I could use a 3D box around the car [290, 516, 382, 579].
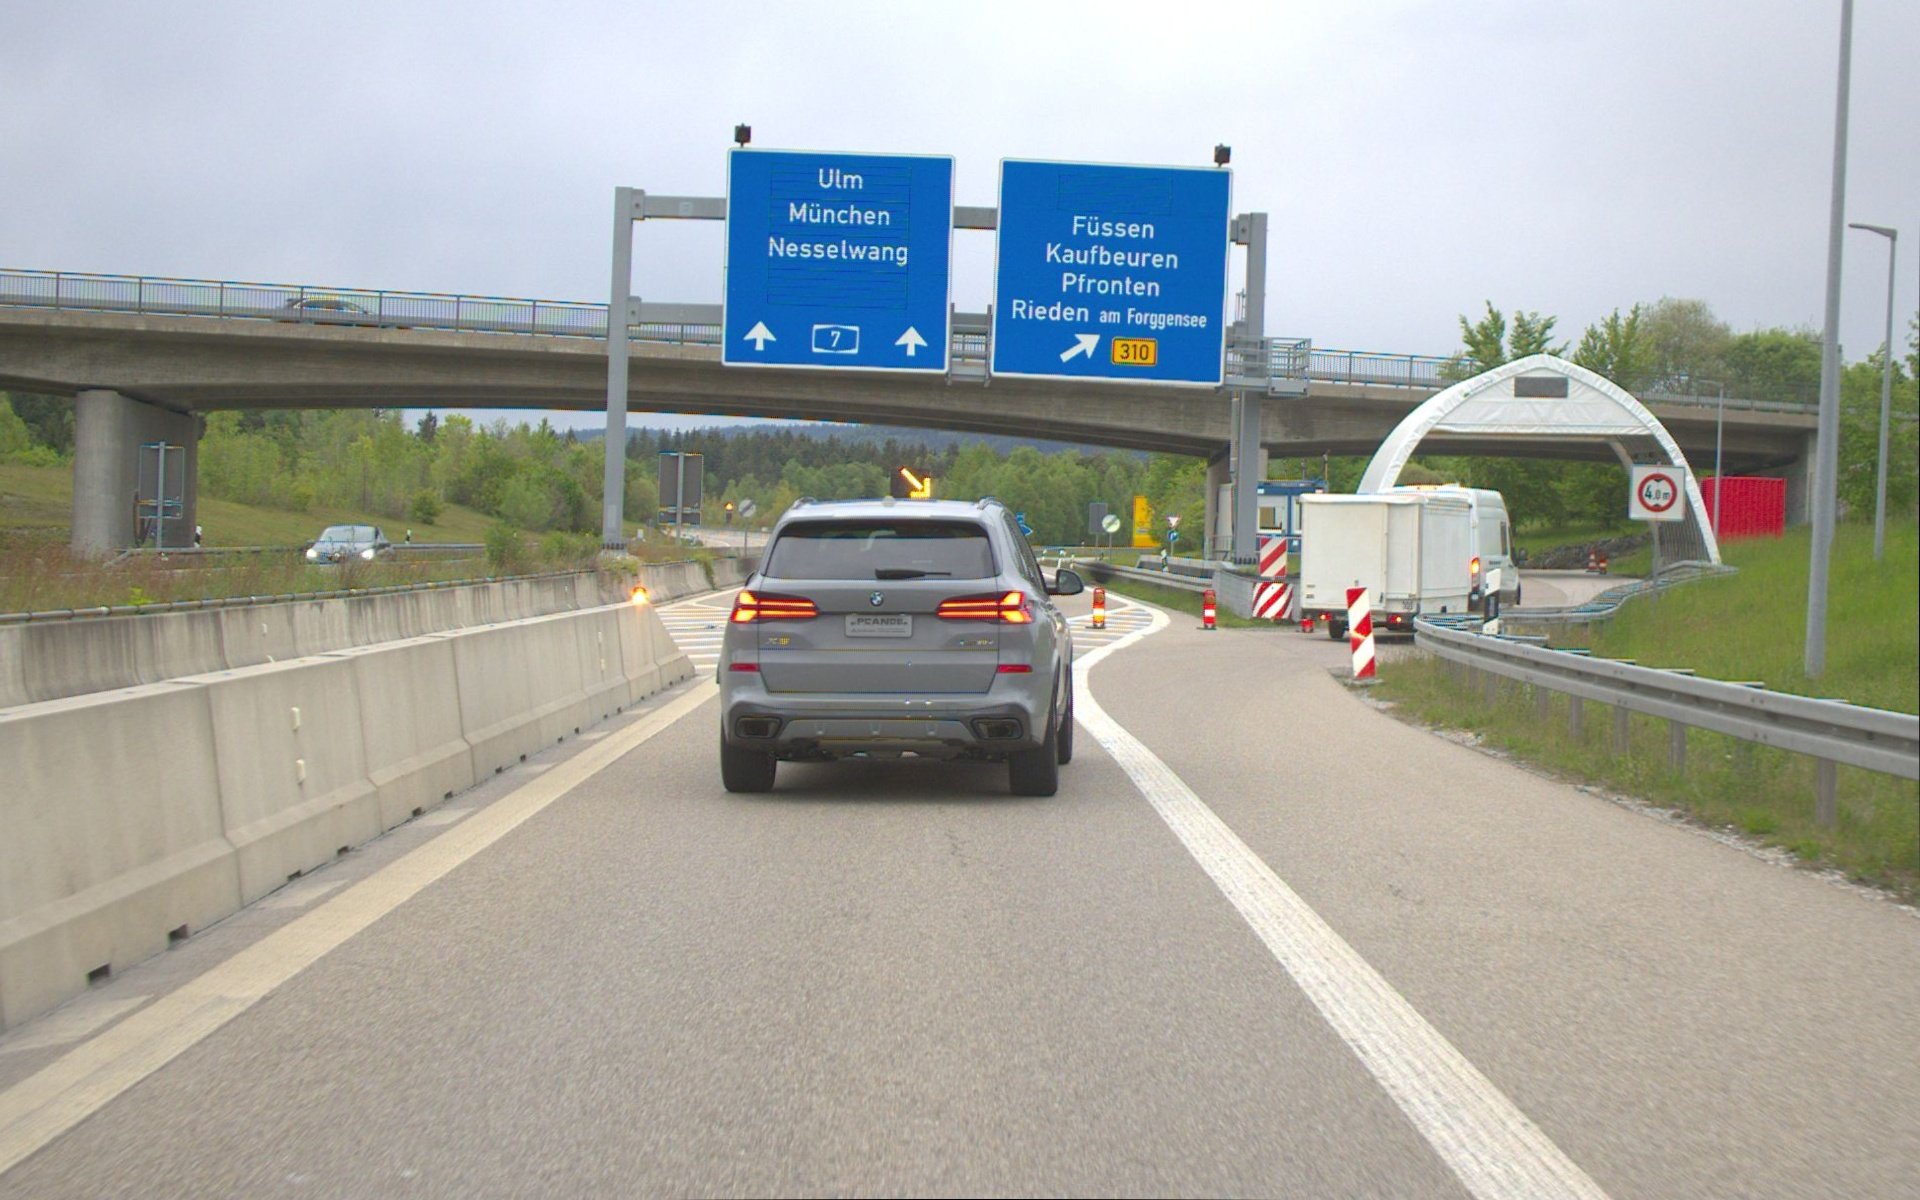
[{"bbox_3d":[-15.503,-1.306,85.603,1.607,1.495,3.838,1,1,-1],"label":"car"}]

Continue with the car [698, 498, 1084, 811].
[{"bbox_3d":[-0.319,0.265,21.155,1.994,1.713,4.000,1,1,4],"label":"car"}]

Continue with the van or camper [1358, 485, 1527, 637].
[{"bbox_3d":[9.290,-0.744,65.745,2.159,2.754,5.866,1,1,18],"label":"van or camper"}]

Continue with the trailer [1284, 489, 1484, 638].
[{"bbox_3d":[7.463,-0.630,59.766,2.281,2.422,6.812,1,1,17],"label":"trailer"}]

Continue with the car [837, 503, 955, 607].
[{"bbox_3d":[-1.317,-0.950,69.890,2.286,2.006,5.050,1,2,-1],"label":"car"}]
